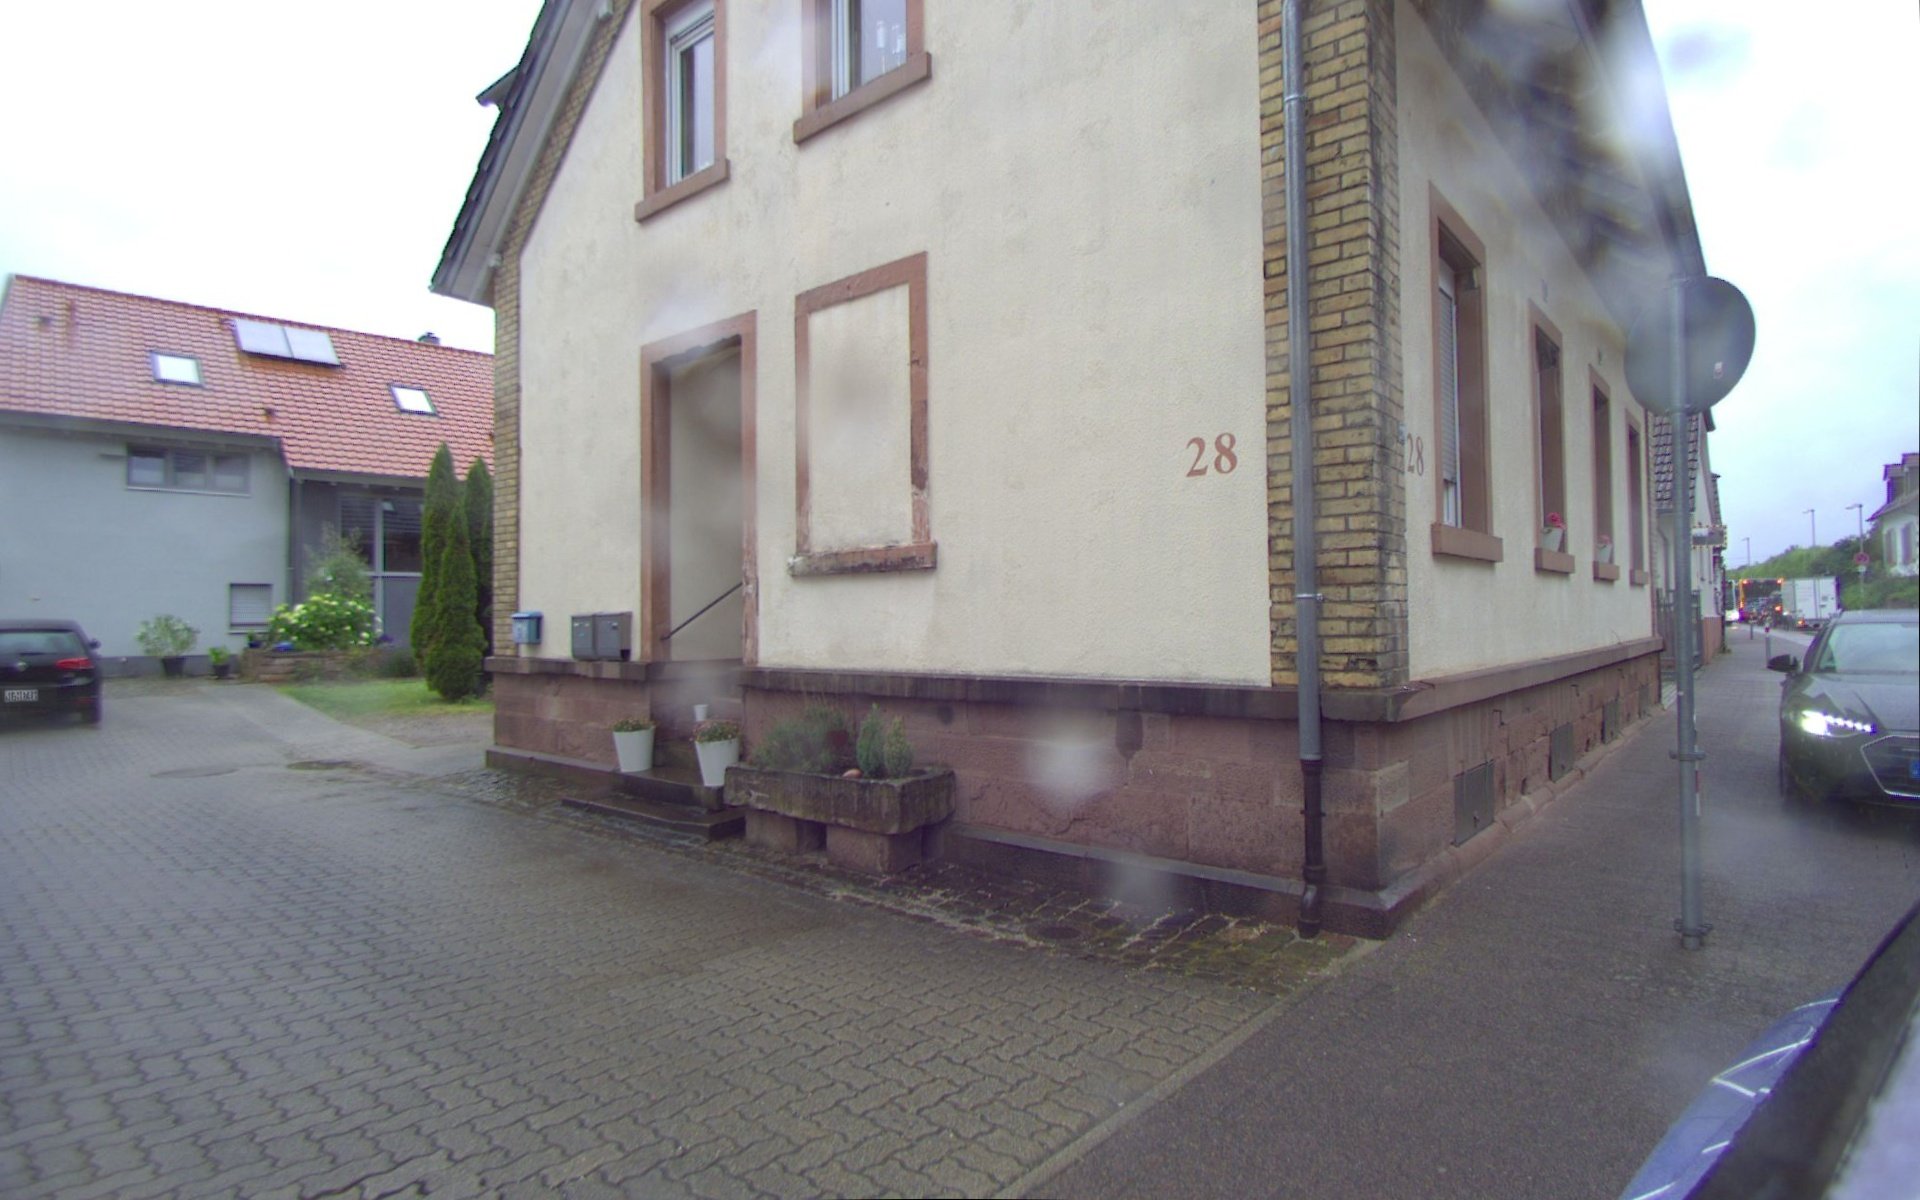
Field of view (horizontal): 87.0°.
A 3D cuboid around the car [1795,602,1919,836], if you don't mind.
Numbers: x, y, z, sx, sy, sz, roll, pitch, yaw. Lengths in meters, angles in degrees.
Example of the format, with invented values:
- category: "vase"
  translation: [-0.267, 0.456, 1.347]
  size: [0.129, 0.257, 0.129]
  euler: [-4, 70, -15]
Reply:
- category: "car"
  translation: [7.369, 0.732, 7.537]
  size: [1.732, 1.388, 4.044]
  euler: [0, 0, 39]

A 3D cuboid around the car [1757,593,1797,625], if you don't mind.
- category: "car"
  translation: [50.016, 0.530, 61.932]
  size: [1.795, 1.839, 3.941]
  euler: [0, 0, 41]

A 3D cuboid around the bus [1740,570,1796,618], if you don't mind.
- category: "bus"
  translation: [59.173, -0.467, 74.303]
  size: [2.654, 3.273, 12.032]
  euler: [0, 0, 36]

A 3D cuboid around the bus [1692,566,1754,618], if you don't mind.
- category: "bus"
  translation: [52.080, -0.568, 69.340]
  size: [2.651, 3.273, 12.045]
  euler: [0, 0, 34]

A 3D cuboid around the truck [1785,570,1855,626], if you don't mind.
- category: "truck"
  translation: [41.396, -0.105, 48.834]
  size: [1.987, 2.536, 5.580]
  euler: [0, 0, 35]

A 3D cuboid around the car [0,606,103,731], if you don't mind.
- category: "car"
  translation: [-13.944, 0.927, 15.107]
  size: [1.655, 1.491, 3.993]
  euler: [0, 2, -42]
